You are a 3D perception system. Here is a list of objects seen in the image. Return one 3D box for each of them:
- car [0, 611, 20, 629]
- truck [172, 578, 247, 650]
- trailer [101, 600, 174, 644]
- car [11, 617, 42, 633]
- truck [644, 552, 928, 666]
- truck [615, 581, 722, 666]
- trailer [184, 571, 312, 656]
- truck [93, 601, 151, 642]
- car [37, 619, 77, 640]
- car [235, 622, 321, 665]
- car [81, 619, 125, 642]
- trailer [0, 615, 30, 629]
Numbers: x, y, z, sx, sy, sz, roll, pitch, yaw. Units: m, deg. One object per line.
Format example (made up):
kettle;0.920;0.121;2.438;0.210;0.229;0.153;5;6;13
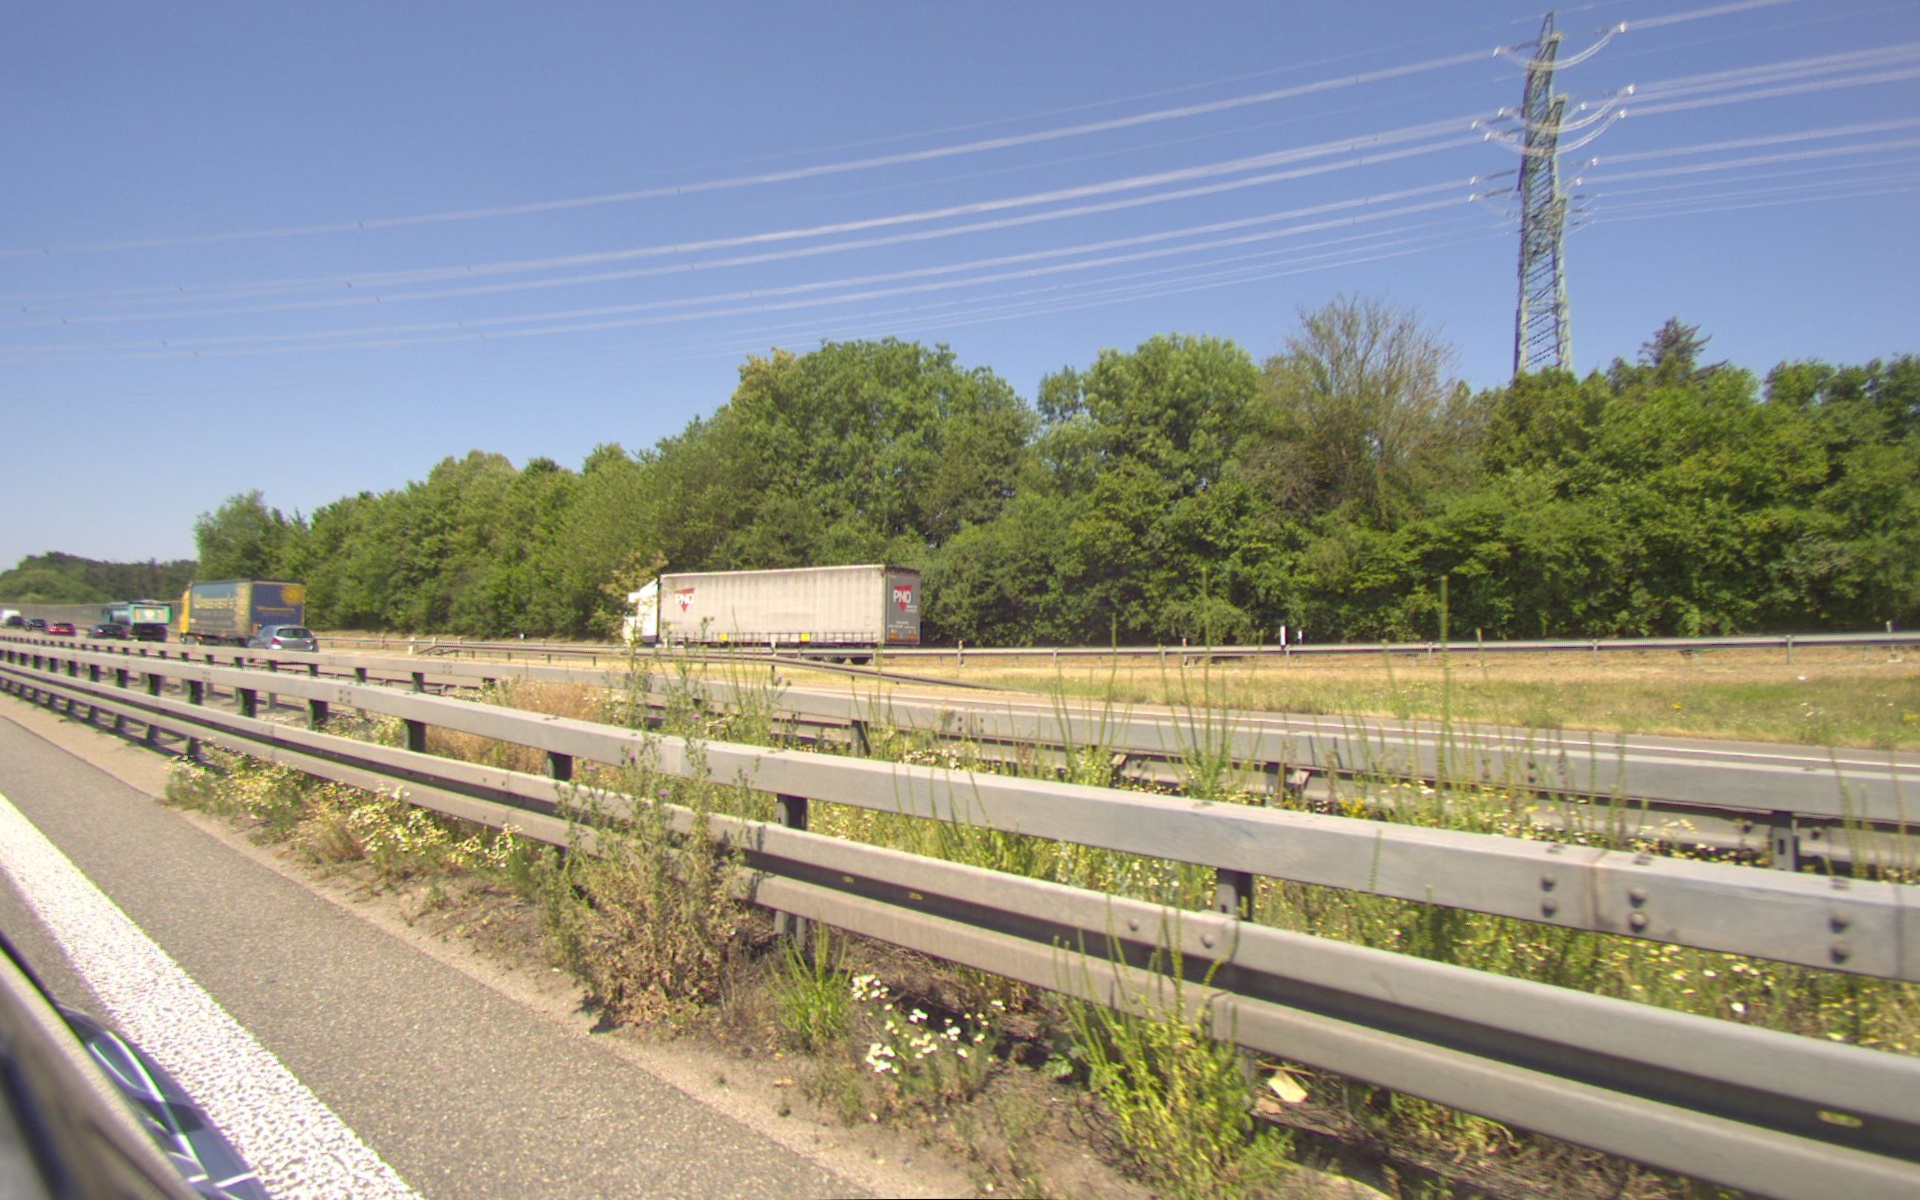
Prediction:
car;-142.969;3.008;151.929;6.001;2.660;2.087;-1;-3;41
truck;-47.367;0.925;63.879;3.513;4.374;3.140;-1;-2;43
trailer;-65.388;1.744;80.335;9.706;3.326;2.883;-1;-2;41
car;-115.734;3.112;125.490;4.509;1.813;2.135;-1;-3;39
truck;-8.272;0.652;45.848;14.502;4.374;2.972;-3;-3;33
truck;-14.308;1.223;49.732;4.311;3.926;2.920;-3;-3;33
trailer;-41.004;0.817;57.953;13.812;4.374;3.140;-1;-2;43
truck;-69.597;1.795;84.053;5.328;3.326;2.883;-1;-2;41
car;-73.479;2.388;82.326;4.382;1.542;1.763;-1;-4;41
car;-26.566;1.688;39.383;3.881;1.542;1.763;-1;-4;41
car;-56.128;1.990;66.261;4.146;1.480;1.694;-1;-4;43
trailer;-138.263;3.157;147.696;6.717;1.960;2.737;-1;-3;39
